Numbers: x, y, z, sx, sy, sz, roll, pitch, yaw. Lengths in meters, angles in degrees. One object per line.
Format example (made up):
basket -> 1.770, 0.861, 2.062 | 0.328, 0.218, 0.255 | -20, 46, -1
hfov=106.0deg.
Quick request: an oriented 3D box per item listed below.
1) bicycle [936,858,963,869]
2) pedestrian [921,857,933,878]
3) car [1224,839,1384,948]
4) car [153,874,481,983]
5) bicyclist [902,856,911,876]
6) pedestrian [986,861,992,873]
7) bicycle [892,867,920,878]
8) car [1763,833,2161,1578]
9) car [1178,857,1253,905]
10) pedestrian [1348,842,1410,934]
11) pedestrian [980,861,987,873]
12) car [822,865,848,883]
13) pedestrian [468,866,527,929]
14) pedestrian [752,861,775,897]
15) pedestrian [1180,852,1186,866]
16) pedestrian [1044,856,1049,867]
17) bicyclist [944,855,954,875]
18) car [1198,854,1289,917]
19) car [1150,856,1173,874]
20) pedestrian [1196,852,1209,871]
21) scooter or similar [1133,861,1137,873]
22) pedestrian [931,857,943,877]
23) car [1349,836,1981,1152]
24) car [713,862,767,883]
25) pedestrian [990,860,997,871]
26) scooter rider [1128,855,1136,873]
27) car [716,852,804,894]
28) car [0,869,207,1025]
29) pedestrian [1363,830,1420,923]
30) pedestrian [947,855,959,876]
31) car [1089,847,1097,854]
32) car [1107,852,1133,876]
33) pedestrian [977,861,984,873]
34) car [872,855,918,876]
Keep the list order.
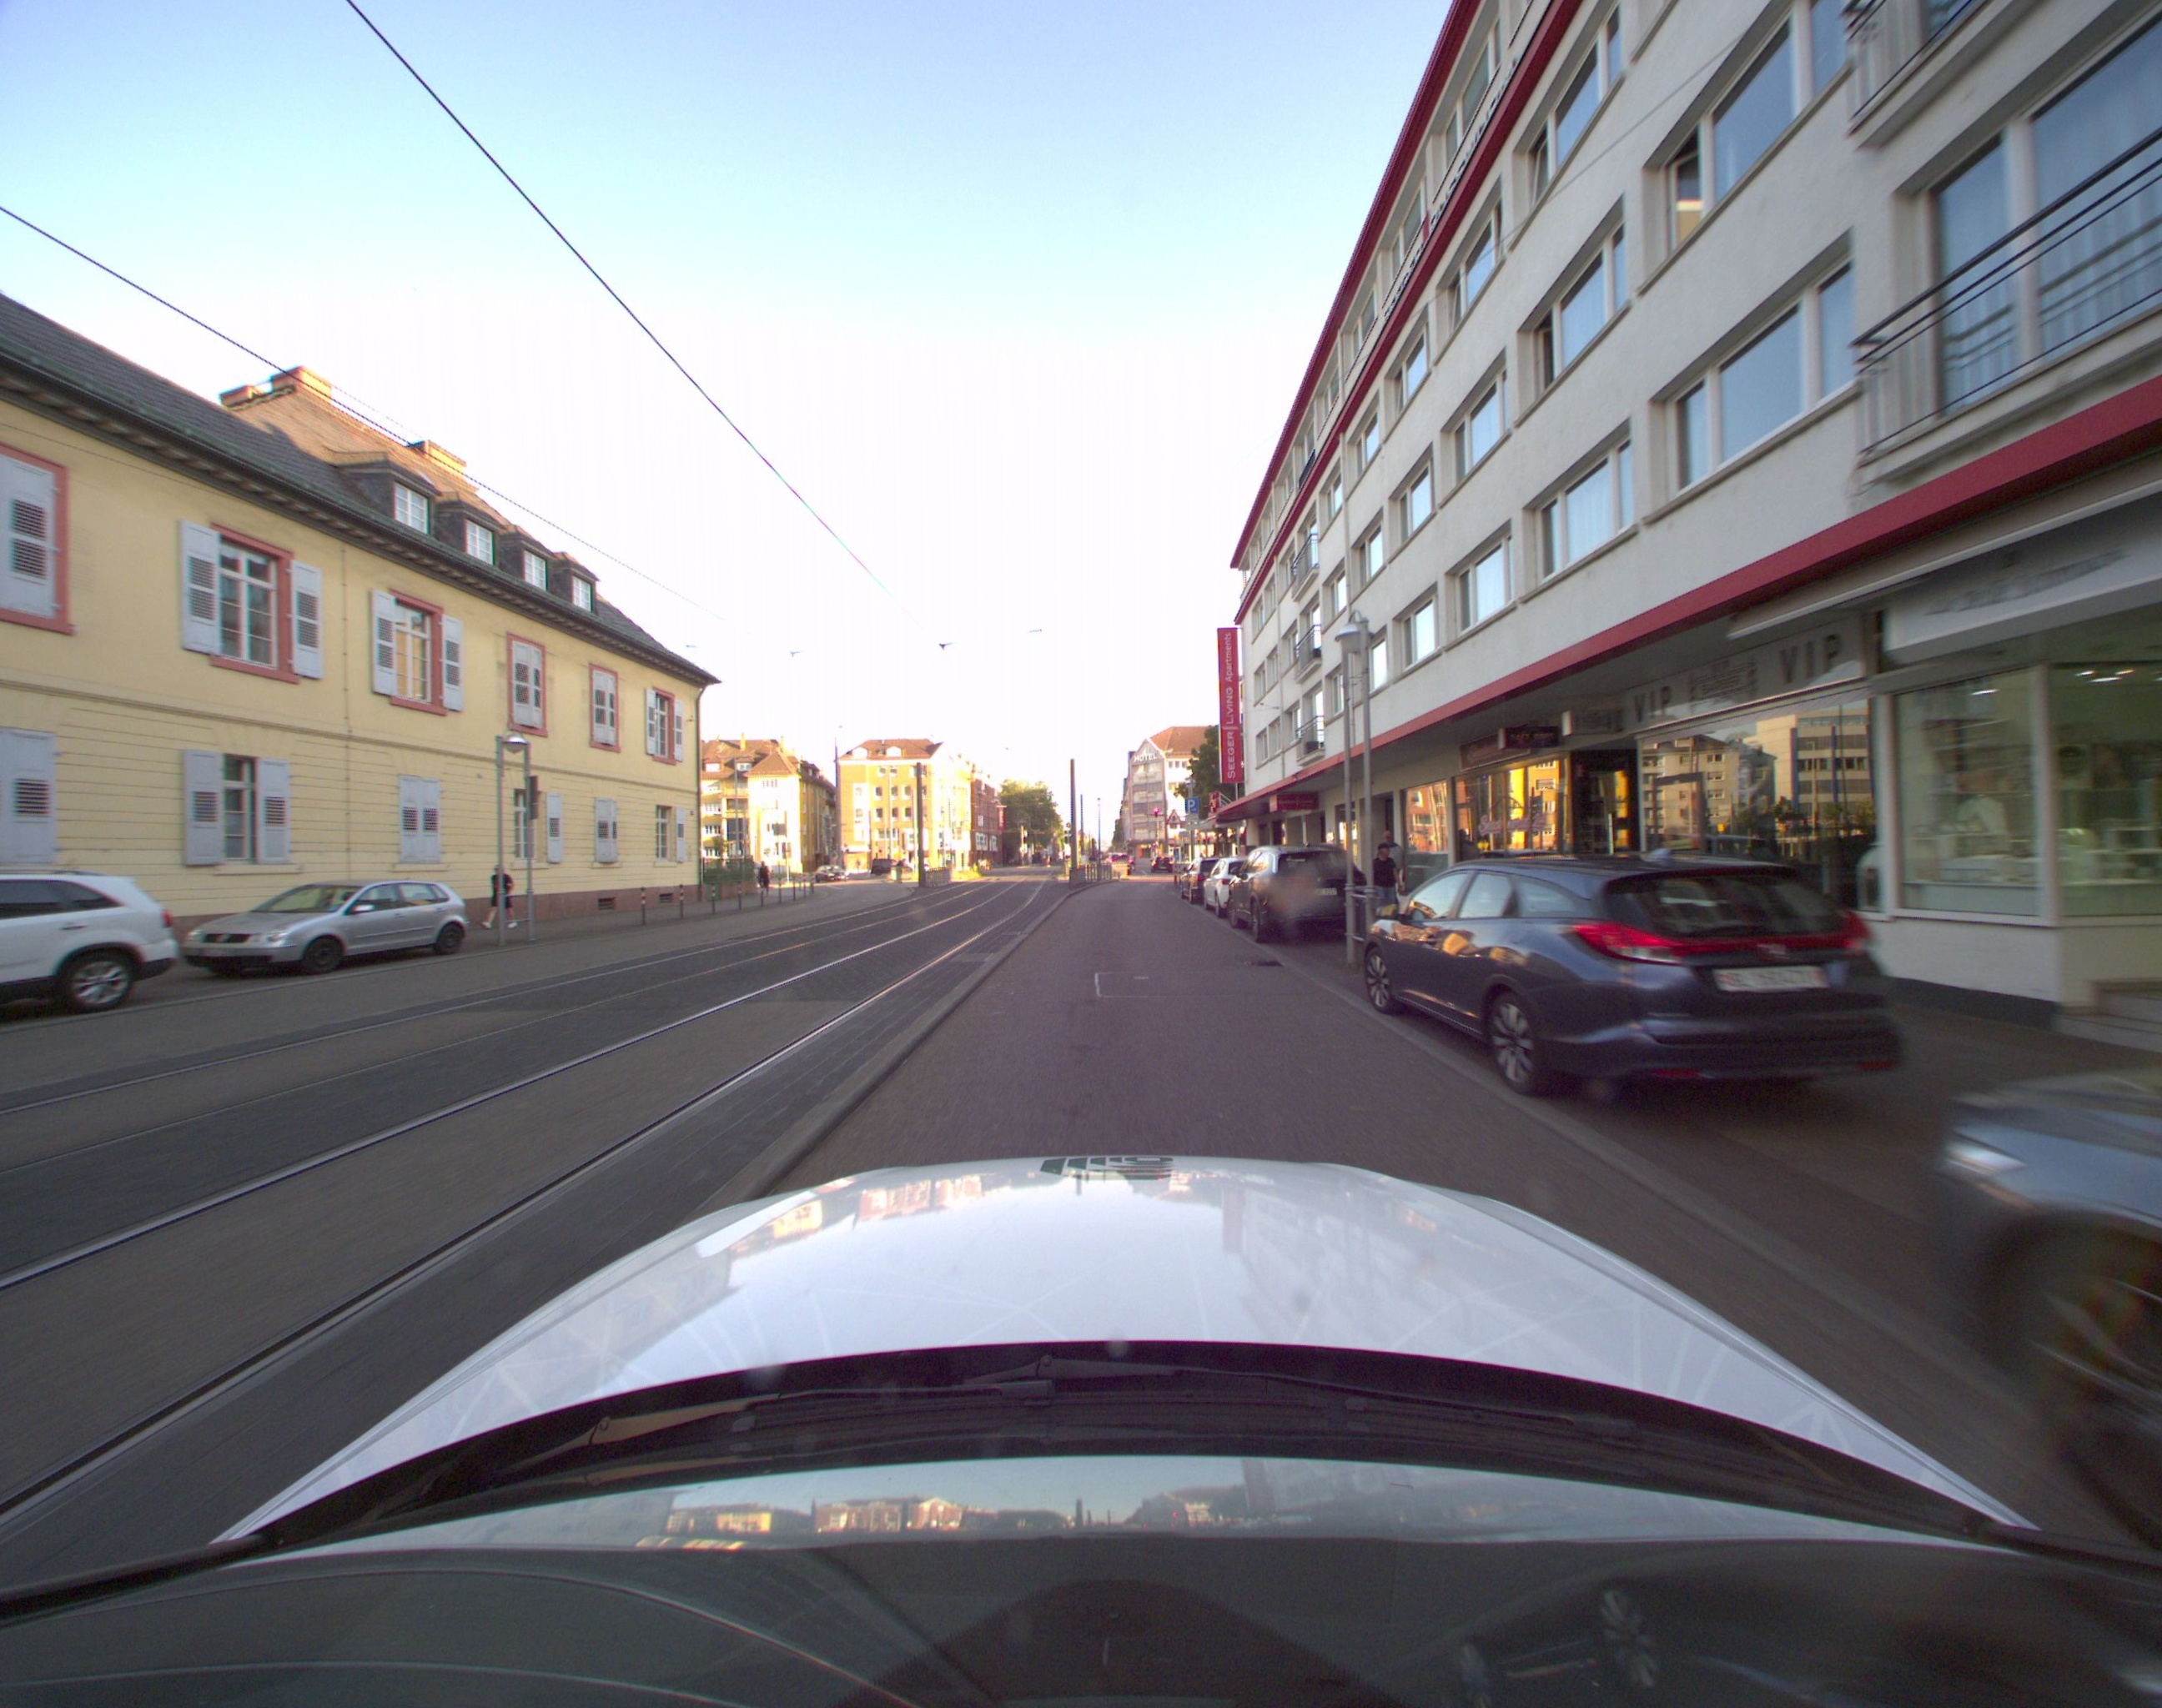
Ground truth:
bicycle -> -13.146, 0.927, 81.629 | 2.647, 1.100, 0.433 | 0, -1, -18
pedestrian -> -10.490, 0.929, 55.404 | 0.662, 1.375, 0.651 | -1, 0, -1
car -> 3.874, 0.644, 14.940 | 1.849, 1.701, 4.419 | 0, -1, 1
car -> -12.664, 1.147, 13.930 | 1.742, 1.474, 4.002 | 0, 0, 2
bicyclist -> -17.400, 1.219, 81.213 | 0.862, 2.014, 0.642 | 1, -1, -18
pedestrian -> -15.120, 2.180, 134.077 | 0.973, 2.014, 0.908 | 0, -1, -1
bicycle -> -17.419, 1.879, 81.161 | 2.647, 1.100, 0.433 | 0, -1, -18
car -> 3.093, 0.708, 0.242 | 1.785, 1.533, 4.857 | 0, -1, 1
car -> 4.233, 0.828, 26.257 | 1.783, 1.413, 4.689 | 0, -1, 2
pedestrian -> 5.321, 0.589, 14.603 | 0.730, 1.574, 0.967 | -2, 0, 1
pedestrian -> -16.193, 2.192, 135.322 | 1.090, 2.014, 0.908 | 0, -1, -1
car -> -20.617, 1.643, 68.274 | 1.773, 1.376, 4.192 | -1, -1, -21
pedestrian -> -14.679, 1.076, 20.498 | 0.796, 1.542, 0.878 | 0, -1, 4
pedestrian -> -14.084, 1.107, 36.164 | 0.717, 1.536, 0.718 | -2, -1, -3
pedestrian -> 12.975, 0.657, 103.649 | 0.743, 1.778, 0.801 | 0, -1, 4
pedestrian -> -5.484, 1.235, 129.980 | 0.802, 1.823, 0.704 | 0, -1, 4
bicyclist -> -13.206, 1.085, 81.645 | 0.863, 2.014, 0.642 | 1, -1, -19
car -> 4.015, 0.749, 20.710 | 1.645, 1.421, 4.193 | 0, -1, 2
car -> 6.921, 0.943, 70.405 | 1.757, 1.440, 4.002 | -2, 0, 2
pedestrian -> 10.898, 0.670, 72.984 | 0.826, 1.685, 1.041 | 1, -1, -19
scooter or similar -> 4.979, 1.224, 75.372 | 0.278, 1.091, 1.260 | 0, -1, 8
pedestrian -> -9.786, 0.887, 55.423 | 0.662, 1.375, 0.651 | -1, 0, -1
car -> 3.543, 0.677, 6.130 | 1.774, 1.522, 4.359 | 0, 0, 2
car -> -34.502, 1.860, 82.413 | 4.689, 2.013, 1.991 | -2, 0, -14
pedestrian -> -14.854, 1.959, 138.639 | 1.090, 2.014, 1.163 | 0, -1, -1
scooter rider -> 4.681, 0.907, 75.357 | 0.658, 1.647, 0.663 | 0, -1, 10
car -> -16.645, 0.958, 42.462 | 3.993, 2.014, 1.990 | -2, 0, -15
car -> -12.662, 1.024, 8.513 | 1.880, 1.661, 4.760 | 0, 0, 0
pedestrian -> 6.522, 0.459, 17.140 | 0.772, 1.880, 0.934 | -2, -1, 0
pedestrian -> -8.684, 0.774, 55.402 | 0.662, 1.375, 0.651 | -2, -1, -1
car -> 3.316, -0.937, 217.311 | 1.985, 1.901, 4.003 | 0, -1, 3
car -> 3.030, 0.800, 62.504 | 1.827, 1.636, 4.093 | -3, -2, 3
pedestrian -> -16.507, 2.170, 134.156 | 1.090, 2.014, 0.908 | 0, -1, -1
car -> -19.424, 1.224, 85.215 | 4.561, 2.037, 1.993 | -1, 0, -11
